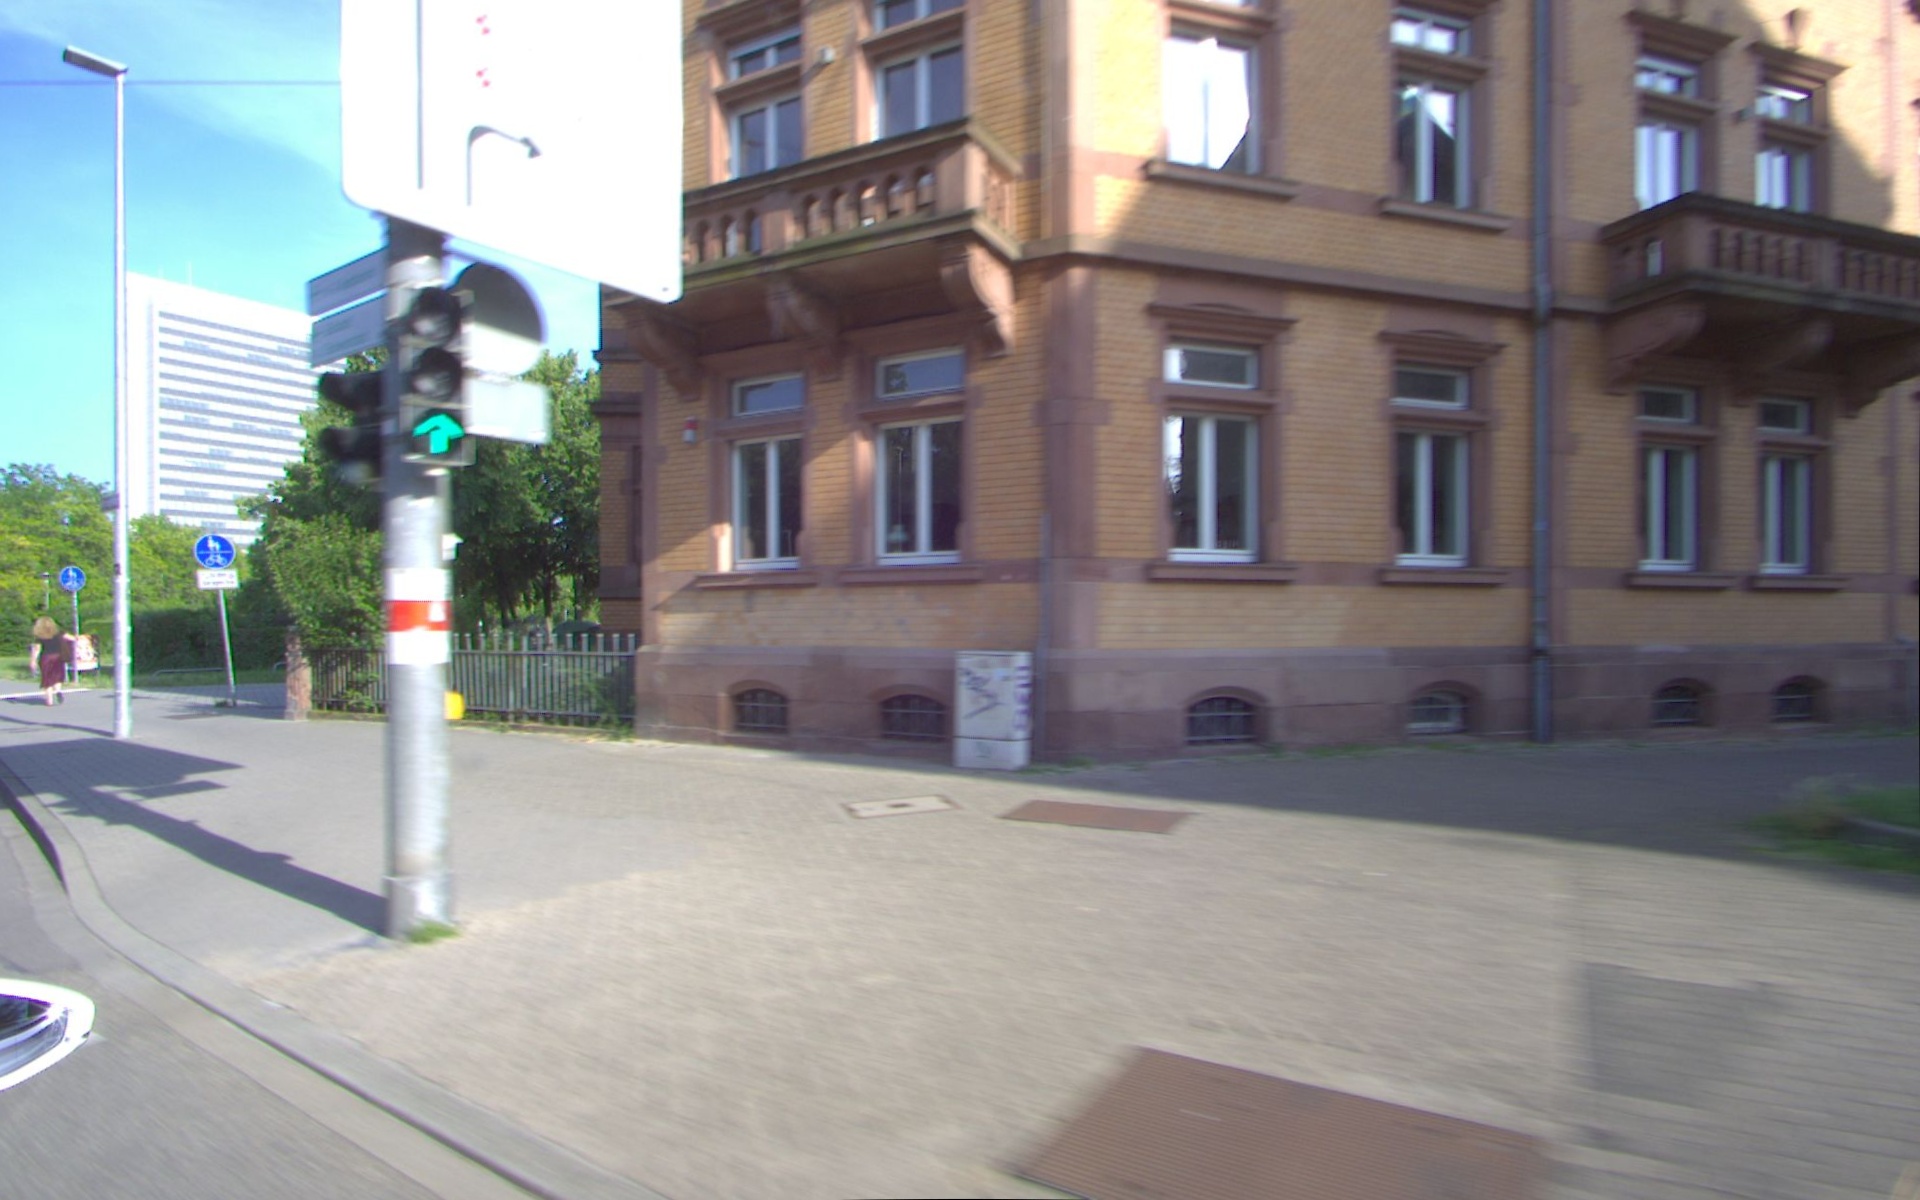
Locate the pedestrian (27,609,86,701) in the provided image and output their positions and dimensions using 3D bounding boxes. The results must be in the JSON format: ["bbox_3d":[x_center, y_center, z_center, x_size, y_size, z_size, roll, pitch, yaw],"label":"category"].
[{"bbox_3d":[-17.531,1.053,19.435,0.540,1.716,0.613,0,4,31],"label":"pedestrian"}]

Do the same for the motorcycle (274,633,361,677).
[{"bbox_3d":[-17.913,1.509,27.962,0.696,1.174,1.999,0,-2,22],"label":"motorcycle"}]
